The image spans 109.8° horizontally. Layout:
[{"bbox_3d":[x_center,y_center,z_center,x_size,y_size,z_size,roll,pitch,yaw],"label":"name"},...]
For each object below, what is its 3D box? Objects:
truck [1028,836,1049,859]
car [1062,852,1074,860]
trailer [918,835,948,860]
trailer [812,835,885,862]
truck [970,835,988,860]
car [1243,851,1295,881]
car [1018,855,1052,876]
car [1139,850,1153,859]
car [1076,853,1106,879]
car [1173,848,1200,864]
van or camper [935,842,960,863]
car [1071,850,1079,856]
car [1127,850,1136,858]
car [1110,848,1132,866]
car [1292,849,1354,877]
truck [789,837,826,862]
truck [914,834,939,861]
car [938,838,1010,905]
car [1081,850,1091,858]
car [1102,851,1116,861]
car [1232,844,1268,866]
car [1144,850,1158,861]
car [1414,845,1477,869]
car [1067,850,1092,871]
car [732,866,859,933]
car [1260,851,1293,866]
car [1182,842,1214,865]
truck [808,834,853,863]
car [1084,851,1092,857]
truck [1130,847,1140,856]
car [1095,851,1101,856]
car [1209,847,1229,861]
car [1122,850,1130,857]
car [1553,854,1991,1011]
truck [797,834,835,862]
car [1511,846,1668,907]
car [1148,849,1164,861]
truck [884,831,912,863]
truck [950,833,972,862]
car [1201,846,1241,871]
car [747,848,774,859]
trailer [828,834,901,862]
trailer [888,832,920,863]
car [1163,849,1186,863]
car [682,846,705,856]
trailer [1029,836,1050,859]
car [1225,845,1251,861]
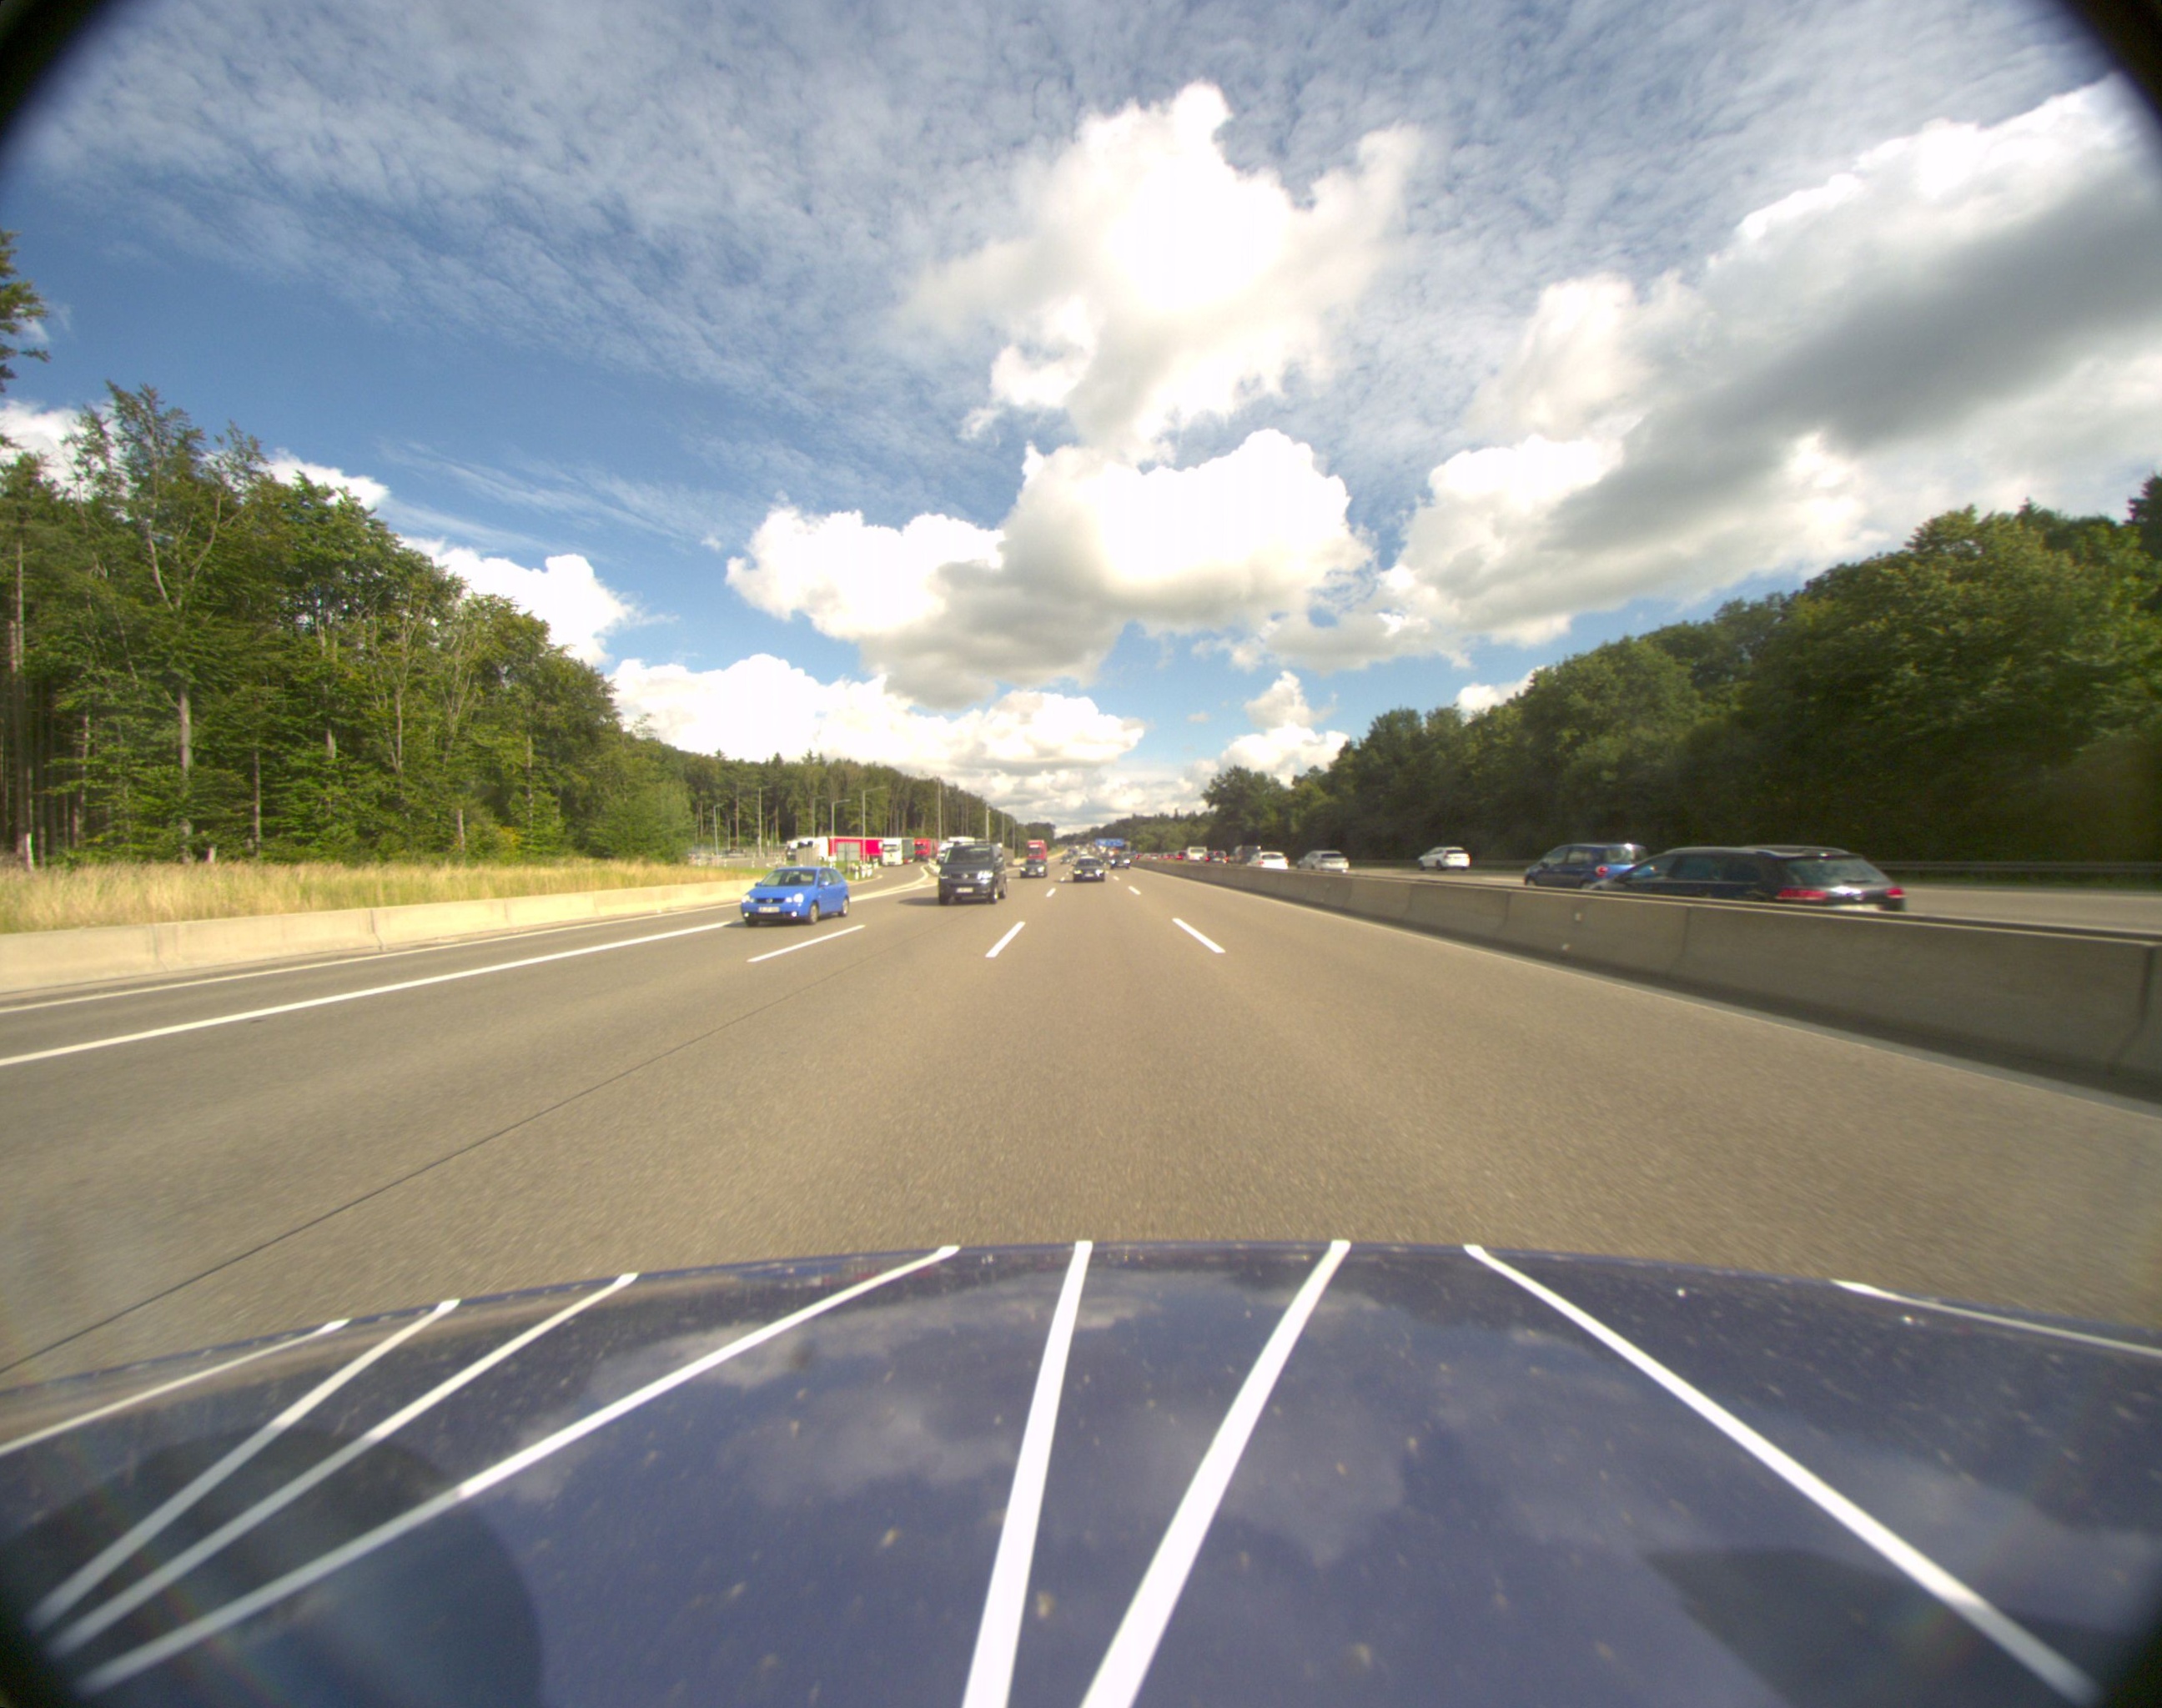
[{"bbox_3d":[-6.882,-1.058,124.128,3.018,3.662,7.560,-1,0,-1],"label":"truck"},{"bbox_3d":[-2.521,0.358,146.042,2.153,1.540,4.677,-1,0,0],"label":"car"},{"bbox_3d":[-27.422,-1.202,141.212,2.879,4.480,13.691,-1,0,-1],"label":"trailer"},{"bbox_3d":[-39.062,-0.993,128.074,11.571,4.405,2.854,-1,1,-44],"label":"trailer"},{"bbox_3d":[-20.188,-1.273,150.830,2.661,4.896,7.261,0,0,0],"label":"truck"},{"bbox_3d":[10.716,0.658,43.610,1.917,1.631,4.242,0,0,0],"label":"car"},{"bbox_3d":[-3.398,0.812,56.519,2.153,1.426,5.099,-1,0,0],"label":"car"},{"bbox_3d":[11.143,0.097,129.844,1.998,1.543,4.000,-1,0,0],"label":"car"},{"bbox_3d":[0.639,0.735,47.641,1.733,1.500,4.728,-2,0,1],"label":"car"},{"bbox_3d":[11.043,0.187,79.588,2.176,1.608,4.550,-1,0,0],"label":"car"},{"bbox_3d":[-20.381,-0.185,116.329,2.393,3.179,4.745,-1,0,7],"label":"van or camper"},{"bbox_3d":[-1.677,-0.272,213.917,2.153,1.540,4.677,-1,0,0],"label":"car"},{"bbox_3d":[10.894,-0.021,163.485,1.698,1.543,4.000,-1,0,0],"label":"car"},{"bbox_3d":[4.160,0.280,79.930,2.153,1.800,5.099,-2,1,1],"label":"car"},{"bbox_3d":[13.886,0.462,43.958,1.998,1.476,5.131,-1,0,0],"label":"car"},{"bbox_3d":[-45.478,-0.745,126.303,5.181,4.094,2.565,-1,1,-43],"label":"truck"},{"bbox_3d":[-27.388,-1.125,134.563,2.878,4.481,7.036,-1,0,0],"label":"truck"},{"bbox_3d":[-3.636,0.550,26.646,1.854,2.097,4.931,-2,0,-1],"label":"car"},{"bbox_3d":[1.082,-0.014,169.544,2.153,1.540,4.677,-1,0,0],"label":"car"},{"bbox_3d":[4.687,0.290,126.141,2.153,1.540,4.677,-1,0,0],"label":"car"},{"bbox_3d":[14.516,0.049,65.562,1.998,1.794,5.125,-1,0,0],"label":"car"},{"bbox_3d":[10.406,0.241,112.823,1.665,1.608,4.000,-1,0,0],"label":"car"},{"bbox_3d":[25.879,0.206,54.198,2.176,1.627,4.876,0,0,0],"label":"car"},{"bbox_3d":[-0.115,0.599,71.161,2.152,1.800,5.099,-2,1,1],"label":"car"},{"bbox_3d":[-7.188,1.089,19.577,1.654,1.433,4.000,-1,0,1],"label":"car"},{"bbox_3d":[18.127,0.384,70.738,1.869,1.294,4.550,-1,0,0],"label":"car"},{"bbox_3d":[10.961,-0.042,71.430,2.164,2.002,5.822,0,0,1],"label":"car"},{"bbox_3d":[-40.113,-0.972,121.720,6.109,4.481,2.873,-2,1,-43],"label":"truck"},{"bbox_3d":[1.807,0.027,209.577,2.153,1.540,4.677,-1,0,0],"label":"car"},{"bbox_3d":[14.738,-0.597,208.874,2.368,2.444,5.239,0,0,0],"label":"truck"},{"bbox_3d":[5.396,-0.211,242.925,1.892,1.783,4.000,0,0,0],"label":"car"},{"bbox_3d":[18.951,-0.015,104.430,1.851,1.789,4.550,0,0,0],"label":"car"},{"bbox_3d":[10.287,-0.050,175.355,1.634,1.543,4.000,-1,0,0],"label":"car"},{"bbox_3d":[9.843,0.939,11.612,2.176,1.867,4.980,0,0,0],"label":"car"},{"bbox_3d":[-43.241,-0.935,124.036,5.132,4.482,2.889,-1,1,-44],"label":"truck"},{"bbox_3d":[13.919,0.553,21.102,1.633,1.503,3.999,-1,0,-1],"label":"car"},{"bbox_3d":[10.408,0.168,105.246,1.746,1.608,4.550,-1,0,0],"label":"car"},{"bbox_3d":[-26.491,-0.949,110.320,2.880,4.481,7.173,0,0,-6],"label":"truck"},{"bbox_3d":[-20.358,-1.092,129.133,2.661,4.896,6.984,0,0,0],"label":"truck"},{"bbox_3d":[10.721,0.345,58.648,2.176,1.790,4.876,-1,0,0],"label":"car"},{"bbox_3d":[-56.457,-0.149,133.838,3.997,1.904,2.000,0,0,-1],"label":"car"},{"bbox_3d":[-35.743,-1.029,125.842,11.406,4.348,2.838,-2,1,-43],"label":"trailer"},{"bbox_3d":[-27.122,-1.012,117.068,2.880,4.480,12.996,0,0,-5],"label":"trailer"},{"bbox_3d":[10.772,0.223,87.740,1.998,1.608,4.550,-1,0,0],"label":"car"},{"bbox_3d":[-62.660,-0.453,122.882,3.988,1.674,1.962,0,0,39],"label":"car"},{"bbox_3d":[-6.997,-1.111,130.917,3.018,3.662,13.574,-1,0,-1],"label":"trailer"},{"bbox_3d":[18.914,-0.076,91.648,1.955,1.841,5.341,-1,0,0],"label":"car"}]
